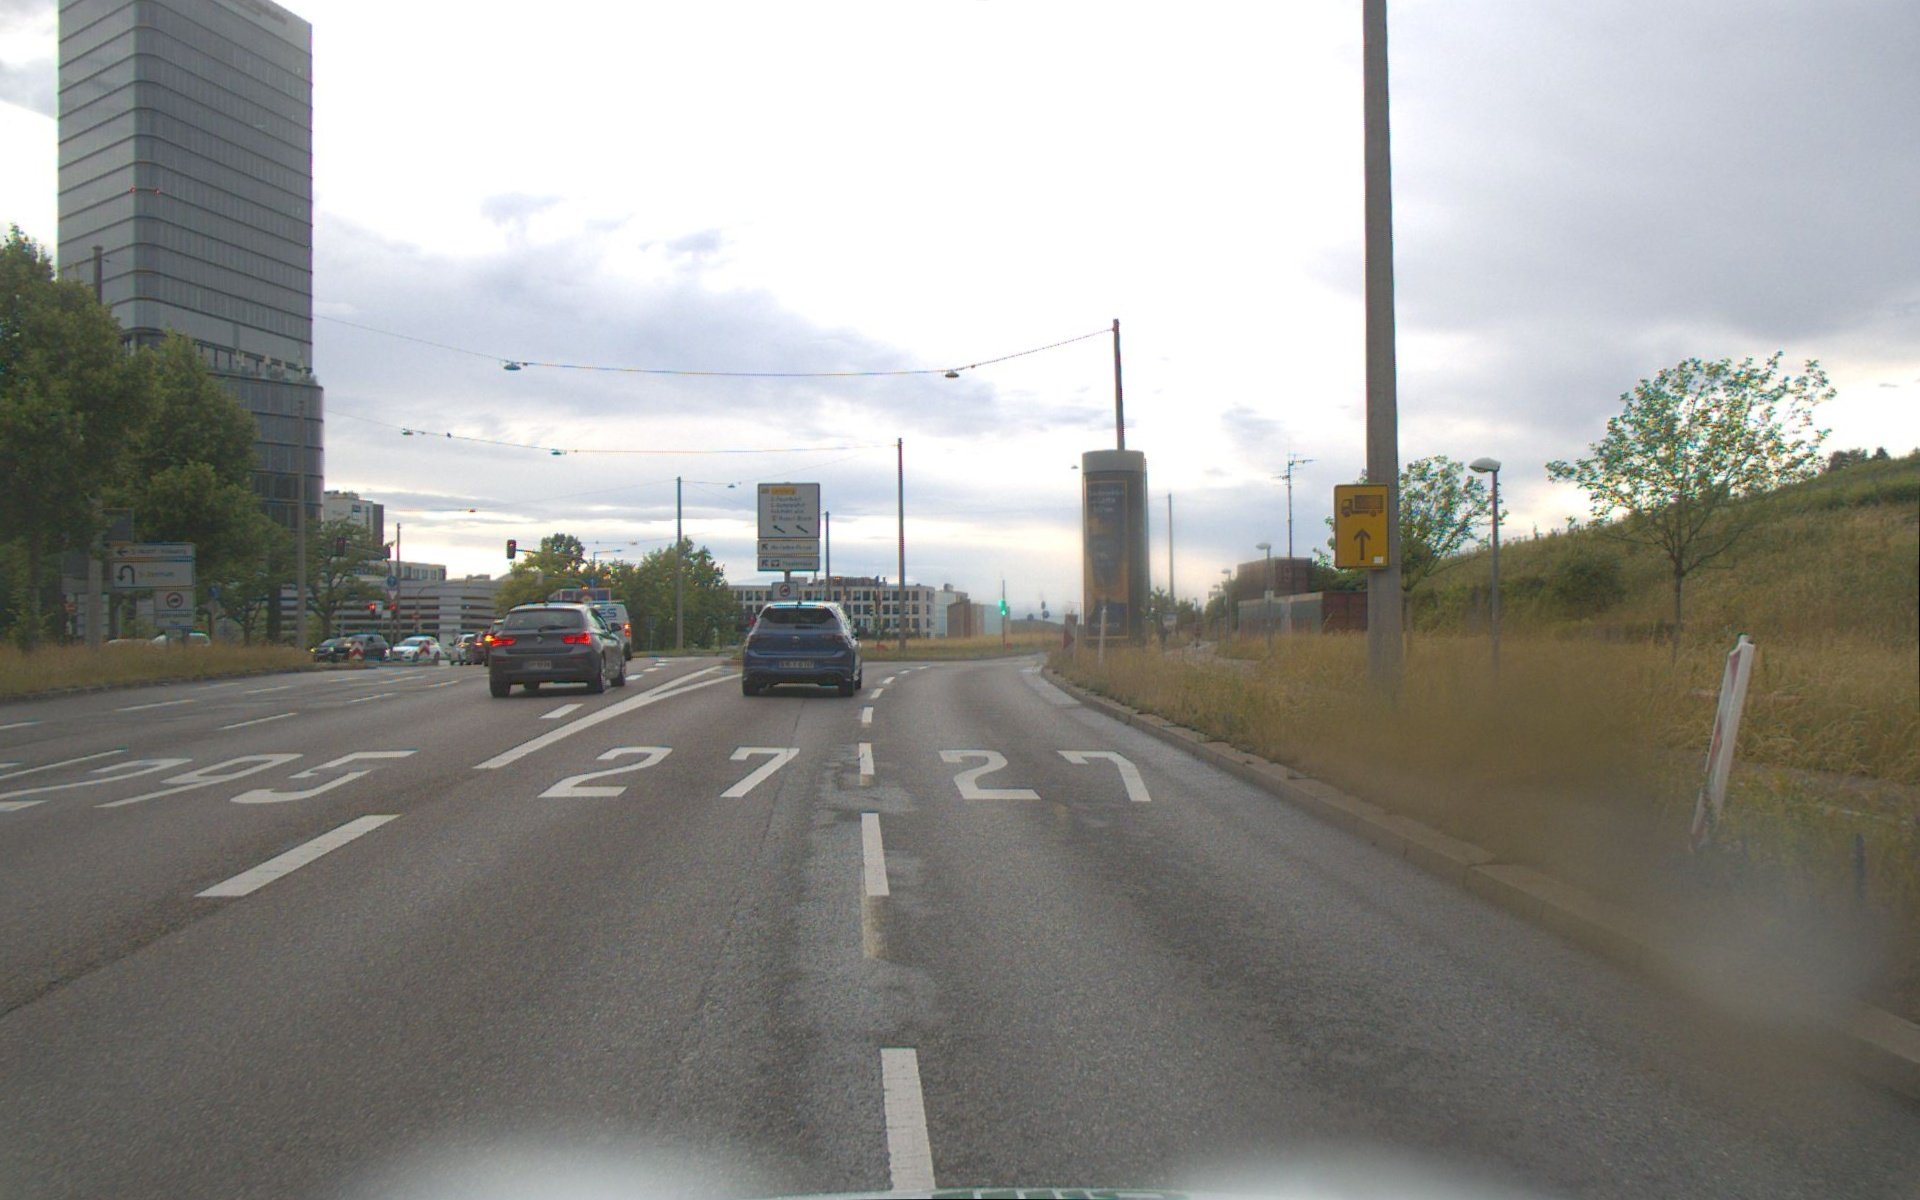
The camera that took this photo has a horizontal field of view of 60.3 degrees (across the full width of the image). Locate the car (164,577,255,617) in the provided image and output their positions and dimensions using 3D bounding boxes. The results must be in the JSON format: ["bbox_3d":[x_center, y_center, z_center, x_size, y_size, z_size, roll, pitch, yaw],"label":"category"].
[{"bbox_3d":[-33.139,-0.132,73.157,1.854,1.687,4.606,-1,0,1],"label":"car"}]

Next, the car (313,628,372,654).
[{"bbox_3d":[-36.736,2.425,98.502,1.891,1.510,4.578,0,-1,-1],"label":"car"}]

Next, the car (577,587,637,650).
[{"bbox_3d":[-12.055,0.654,56.612,1.871,2.007,5.077,-2,-1,-12],"label":"car"}]

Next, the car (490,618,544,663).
[{"bbox_3d":[-22.408,2.025,83.608,1.968,2.048,3.970,-3,2,-24],"label":"car"}]

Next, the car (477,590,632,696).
[{"bbox_3d":[-6.557,0.642,27.147,1.832,1.486,3.973,0,2,-5],"label":"car"}]

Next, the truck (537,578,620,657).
[{"bbox_3d":[-16.794,0.777,72.551,2.628,3.276,6.506,1,-1,-21],"label":"truck"}]

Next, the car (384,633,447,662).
[{"bbox_3d":[-32.440,2.805,98.663,1.853,1.687,4.608,0,-1,6],"label":"car"}]

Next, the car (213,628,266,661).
[{"bbox_3d":[-43.638,2.687,100.228,1.563,1.847,3.536,0,1,1],"label":"car"}]

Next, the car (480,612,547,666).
[{"bbox_3d":[-14.180,1.232,52.417,1.874,1.591,3.980,-2,-1,-17],"label":"car"}]

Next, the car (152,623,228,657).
[{"bbox_3d":[-40.615,2.084,87.378,1.953,1.700,4.742,0,0,-2],"label":"car"}]

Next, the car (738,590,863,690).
[{"bbox_3d":[-2.505,0.597,26.772,1.801,1.418,3.998,1,1,-3],"label":"car"}]
